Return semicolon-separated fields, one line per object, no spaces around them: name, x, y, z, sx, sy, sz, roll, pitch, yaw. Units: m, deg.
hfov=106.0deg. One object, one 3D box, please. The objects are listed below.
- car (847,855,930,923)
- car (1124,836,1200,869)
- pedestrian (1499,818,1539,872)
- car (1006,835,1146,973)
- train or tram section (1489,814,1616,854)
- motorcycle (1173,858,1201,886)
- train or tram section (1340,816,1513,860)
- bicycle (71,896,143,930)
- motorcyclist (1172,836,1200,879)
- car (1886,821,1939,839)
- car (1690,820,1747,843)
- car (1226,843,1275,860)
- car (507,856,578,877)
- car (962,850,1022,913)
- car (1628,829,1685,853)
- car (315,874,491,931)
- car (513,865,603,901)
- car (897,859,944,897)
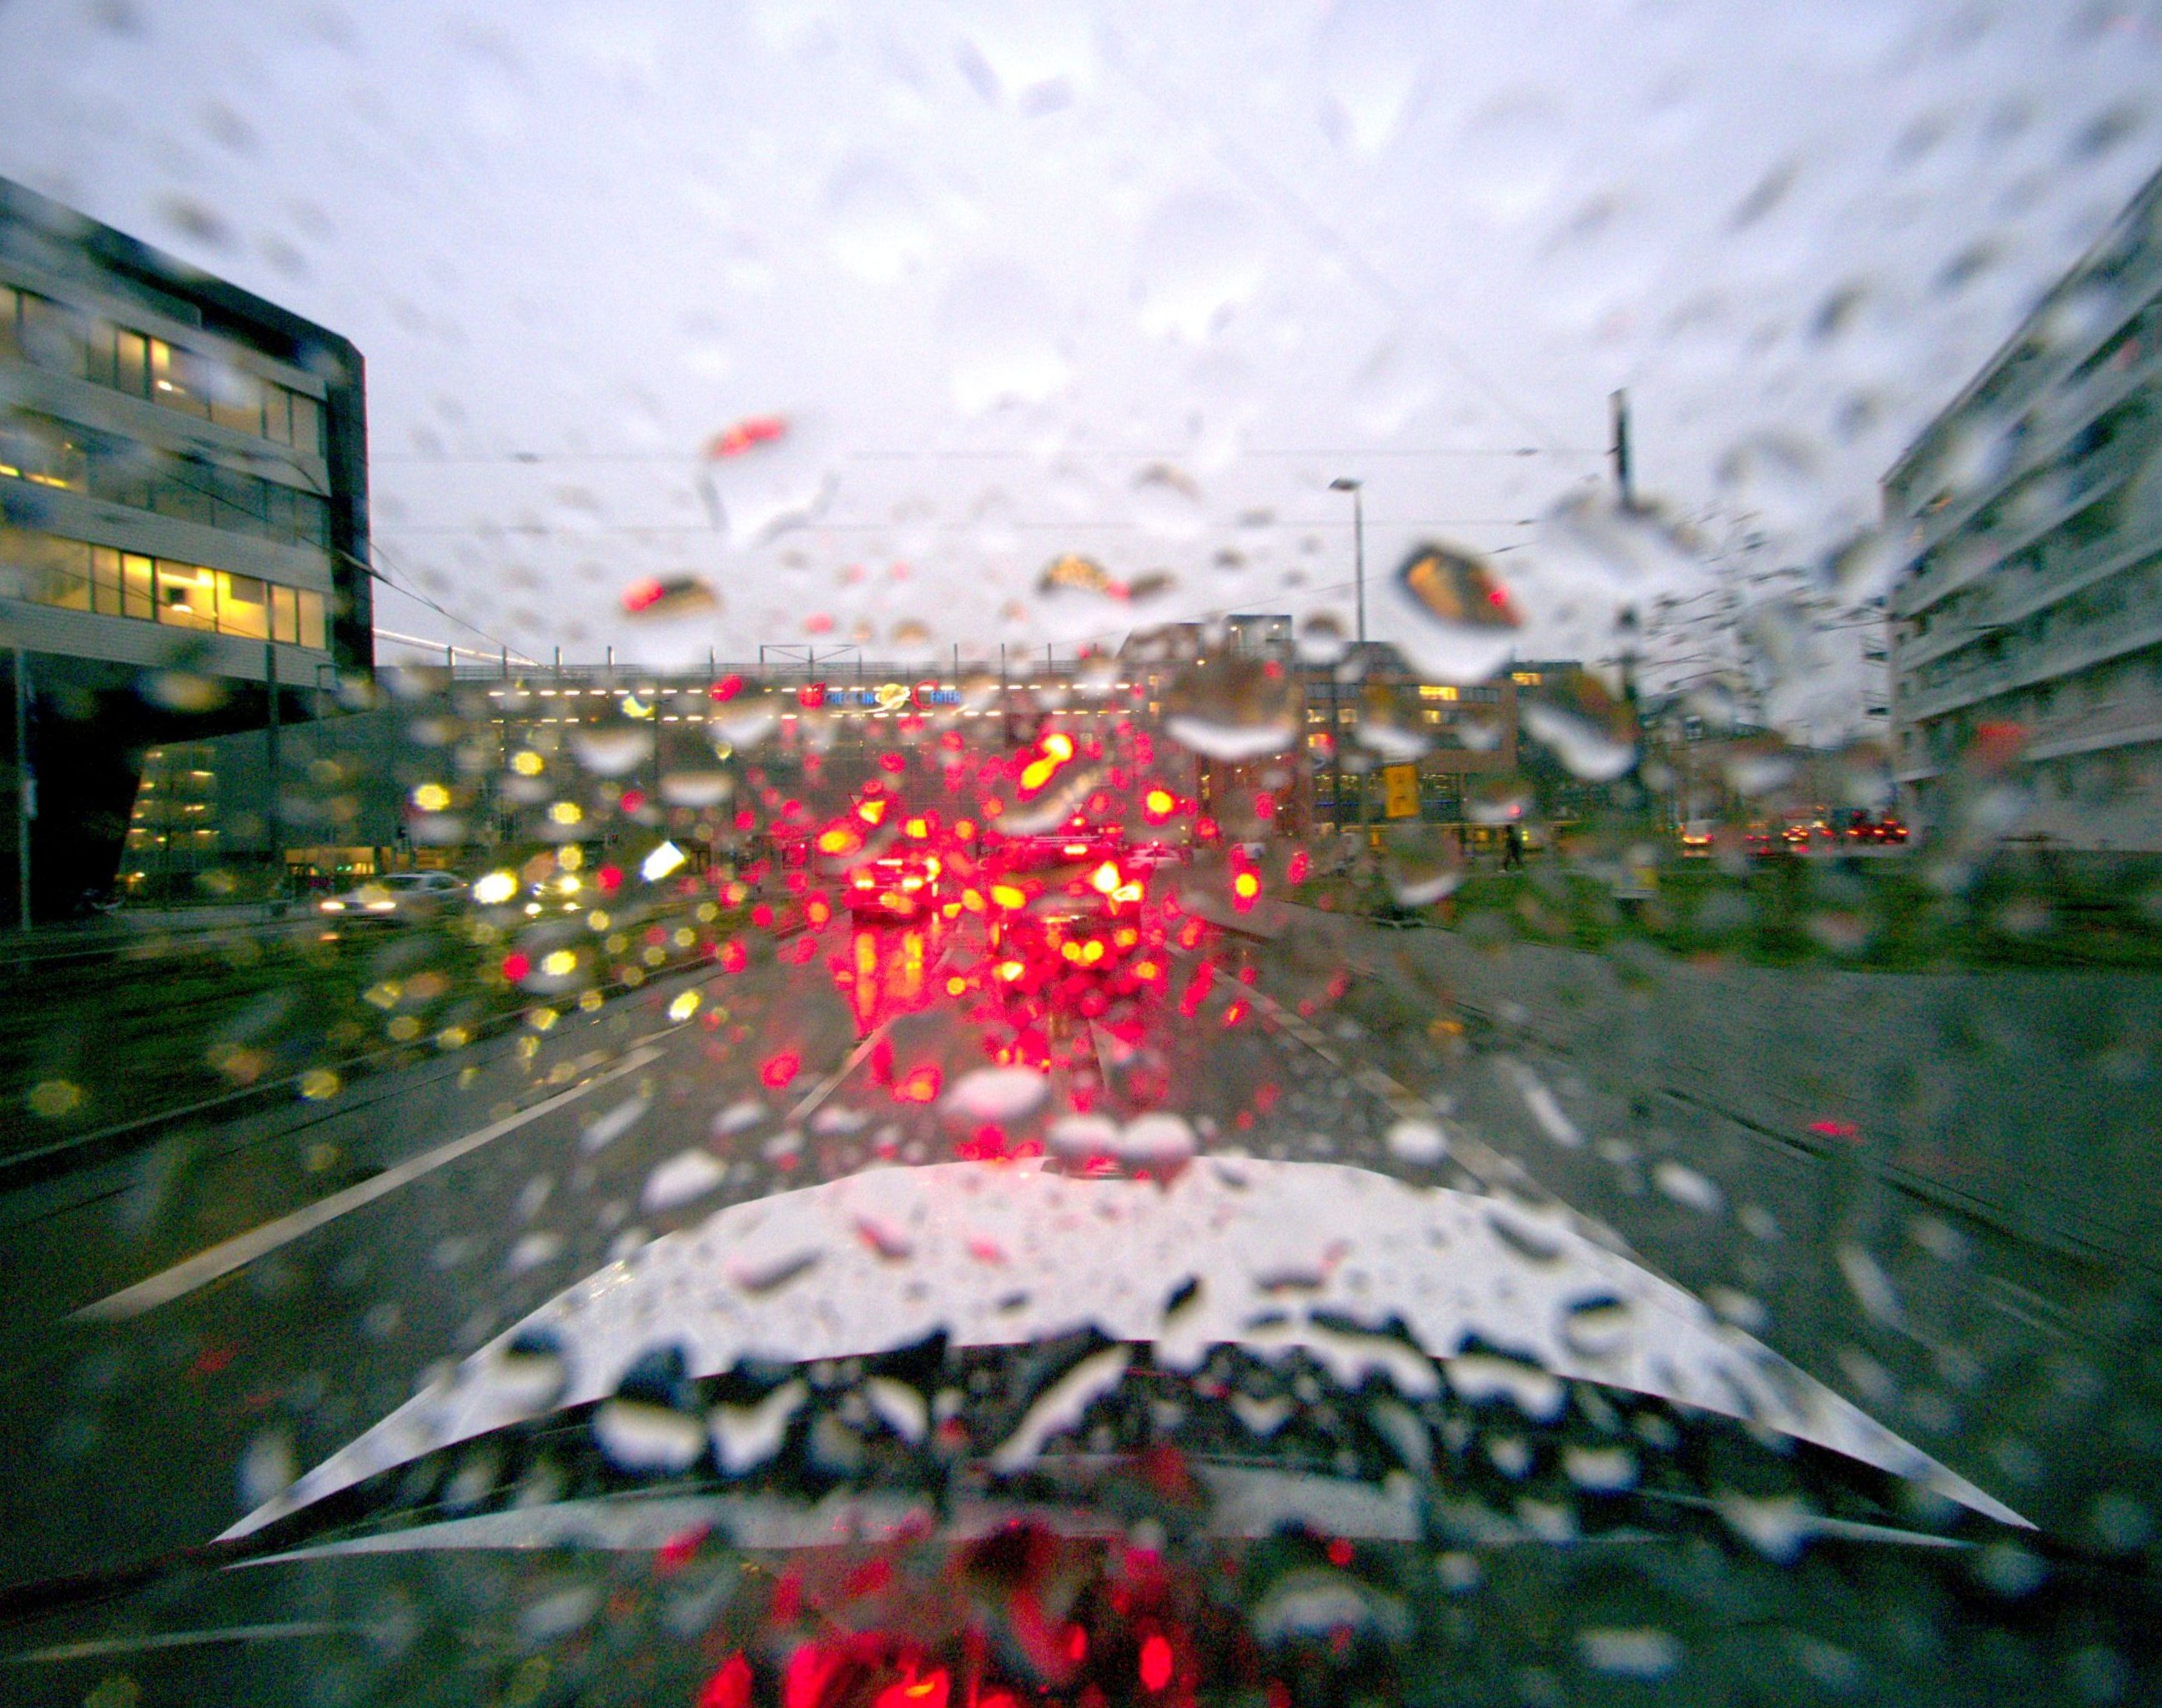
car;-5.046;0.866;21.819;1.752;1.574;3.989;-2;0;-8
car;5.136;-0.067;51.660;4.370;2.013;1.986;0;0;-21
pedestrian;16.051;-0.328;29.863;1.160;1.924;0.903;0;0;19
car;-0.250;0.639;12.503;1.733;1.738;4.237;0;0;-6
train or tram section;44.062;-1.914;76.017;12.999;3.260;2.321;-2;0;-20
motorcycle;3.893;0.647;30.041;0.849;0.972;1.582;-2;0;2
train or tram section;30.318;-1.411;71.127;16.658;3.260;2.321;-2;0;-20
bicycle;-35.048;2.093;29.324;0.552;1.090;1.613;-2;0;4
motorcyclist;3.866;0.125;30.057;0.865;1.534;1.108;-2;0;1
car;76.527;-2.182;74.971;4.088;1.583;1.986;0;0;-21
car;58.084;-2.022;74.157;4.954;2.013;1.985;0;0;-23
car;16.472;-0.254;79.256;4.428;1.595;1.790;0;-1;-16
car;-49.488;1.137;74.966;5.078;1.962;1.884;0;0;-10
car;-2.706;0.778;24.223;1.635;1.697;3.660;-1;-1;-8
car;50.503;-1.122;71.491;3.993;2.013;1.990;0;0;-14
car;-20.136;1.371;24.494;1.819;1.435;4.644;0;0;-7
car;-23.227;1.251;36.379;1.656;1.401;4.510;0;0;-8
car;-5.891;0.847;29.897;1.541;1.251;4.051;-2;0;-12
